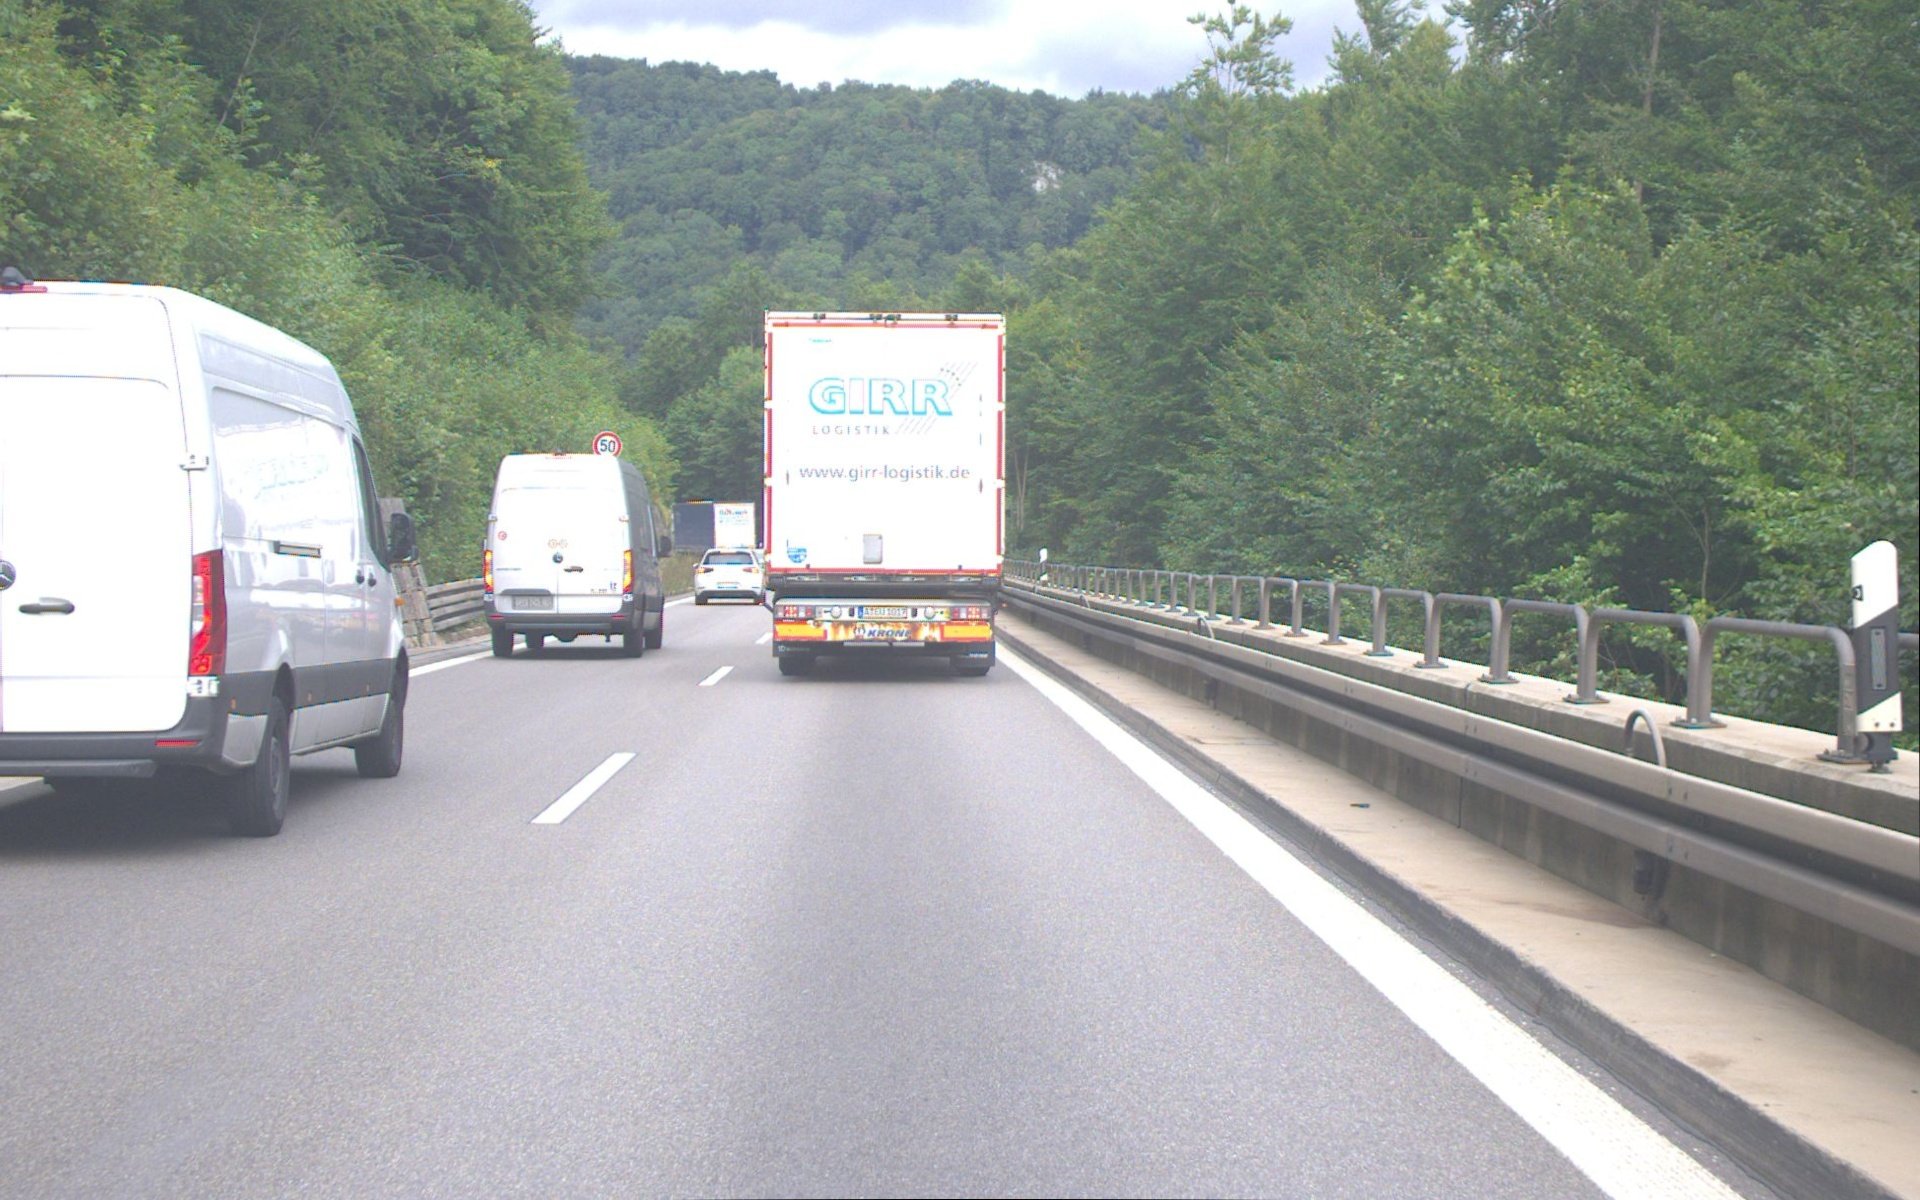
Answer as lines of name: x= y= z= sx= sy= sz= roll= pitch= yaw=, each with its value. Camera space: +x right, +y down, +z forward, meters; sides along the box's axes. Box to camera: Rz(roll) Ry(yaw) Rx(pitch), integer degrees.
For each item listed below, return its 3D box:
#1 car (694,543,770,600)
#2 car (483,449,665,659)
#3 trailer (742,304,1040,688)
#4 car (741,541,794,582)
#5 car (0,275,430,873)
car: x=-5.896 y=-0.753 z=89.243 sx=1.732 sy=1.416 sz=4.000 roll=1 pitch=1 yaw=-1
car: x=-5.186 y=-0.645 z=46.849 sx=1.939 sy=2.663 sz=5.992 roll=0 pitch=1 yaw=-1
trailer: x=-0.846 y=-1.331 z=42.116 sx=3.057 sy=3.972 sz=12.138 roll=1 pitch=2 yaw=-1
car: x=-6.945 y=-1.412 z=124.083 sx=1.732 sy=1.416 sz=4.000 roll=1 pitch=1 yaw=-1
car: x=-4.350 y=-0.185 z=18.792 sx=1.989 sy=2.663 sz=6.937 roll=0 pitch=1 yaw=-1
